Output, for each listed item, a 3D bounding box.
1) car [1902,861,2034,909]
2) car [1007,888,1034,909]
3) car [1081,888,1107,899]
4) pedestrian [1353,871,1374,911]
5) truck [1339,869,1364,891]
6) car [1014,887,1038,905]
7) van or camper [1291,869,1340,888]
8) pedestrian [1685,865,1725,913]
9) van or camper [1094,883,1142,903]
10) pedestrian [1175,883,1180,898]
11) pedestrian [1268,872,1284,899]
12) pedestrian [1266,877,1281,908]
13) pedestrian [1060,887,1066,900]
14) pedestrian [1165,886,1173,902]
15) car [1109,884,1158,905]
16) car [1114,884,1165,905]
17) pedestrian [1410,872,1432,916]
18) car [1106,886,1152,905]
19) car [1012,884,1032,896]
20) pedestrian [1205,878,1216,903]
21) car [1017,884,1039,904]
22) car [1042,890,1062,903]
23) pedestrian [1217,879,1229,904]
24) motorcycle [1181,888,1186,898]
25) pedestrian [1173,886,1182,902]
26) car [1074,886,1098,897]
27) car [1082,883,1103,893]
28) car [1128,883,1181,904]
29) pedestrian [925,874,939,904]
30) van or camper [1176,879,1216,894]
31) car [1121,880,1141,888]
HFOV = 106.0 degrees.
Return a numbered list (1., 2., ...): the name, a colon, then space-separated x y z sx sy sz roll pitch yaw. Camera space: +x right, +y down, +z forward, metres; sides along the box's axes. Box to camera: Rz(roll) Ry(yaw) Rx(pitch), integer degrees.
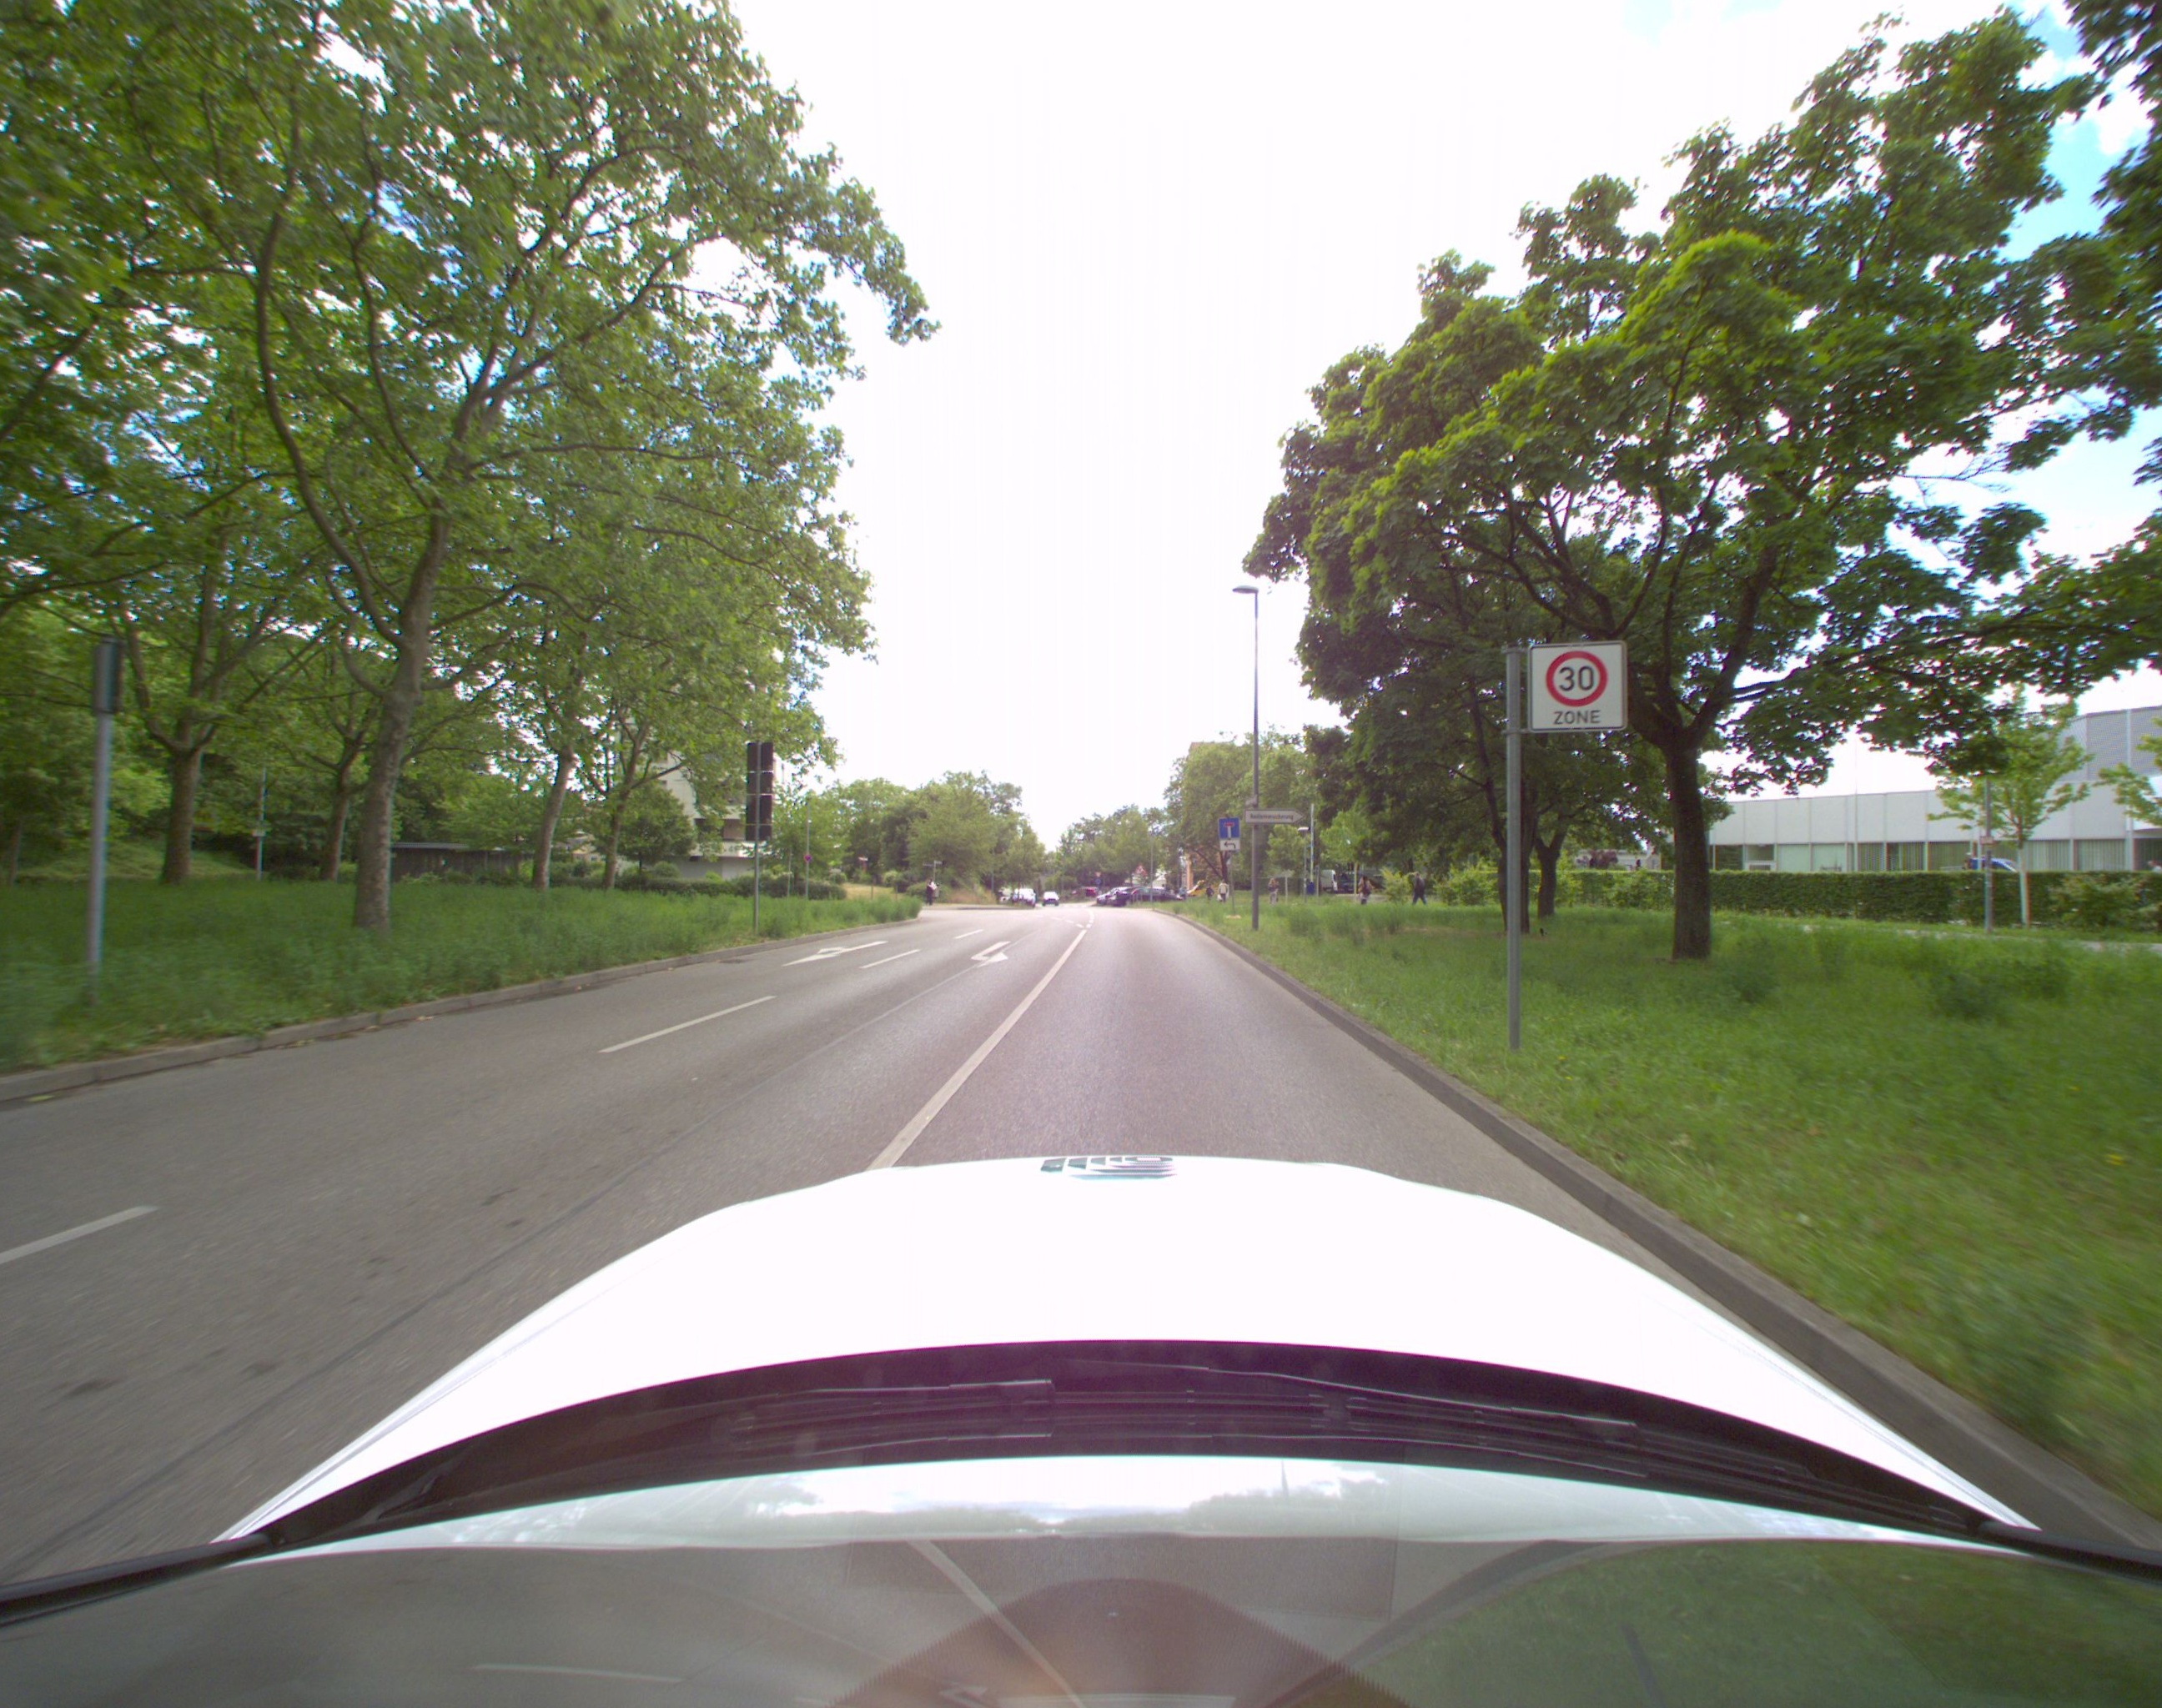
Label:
1. car: 33.725 1.130 31.044 1.580 1.676 3.123 1 0 -29
2. car: -4.640 3.411 63.009 1.760 1.500 3.933 0 -1 0
3. car: 1.949 5.875 122.049 3.548 1.564 1.612 2 -2 -17
4. pedestrian: 12.307 1.603 35.469 0.769 1.723 0.826 0 -1 14
5. truck: 30.137 2.893 90.561 2.306 2.296 5.925 1 -1 21
6. car: -4.587 3.502 68.115 1.760 1.501 3.933 0 -2 0
7. van or camper: 24.661 2.522 85.788 4.627 1.914 1.783 0 -1 32
8. pedestrian: 19.240 1.067 25.111 0.837 1.452 0.692 1 0 -27
9. van or camper: 3.765 3.911 82.472 4.665 1.870 1.768 0 0 -6
10. pedestrian: 7.866 2.971 66.540 0.393 1.152 0.486 0 -1 6
11. pedestrian: 12.802 2.057 53.436 0.767 1.694 0.828 0 -1 35
12. pedestrian: 10.234 2.022 43.265 0.769 1.596 0.826 0 -1 12
13. pedestrian: -2.592 5.816 118.542 0.720 1.865 0.649 0 -1 -9
14. pedestrian: 7.920 3.606 73.418 0.687 1.504 0.753 1 -2 2
15. car: 4.245 3.310 65.846 3.906 1.631 1.772 0 -5 2
16. car: 4.510 3.148 63.112 3.906 1.501 1.772 0 -5 2
17. pedestrian: 13.560 1.581 32.483 0.768 1.723 0.827 0 -1 21
18. car: 4.176 3.603 70.936 3.906 1.630 1.773 0 0 2
19. car: -7.401 4.494 101.715 1.209 1.337 2.576 3 -3 -38
20. pedestrian: 9.177 2.586 57.717 0.769 1.723 0.825 0 -1 10
21. car: -4.781 3.572 73.827 1.760 1.753 3.933 0 -2 0
22. car: -3.472 5.007 96.023 1.973 1.464 3.924 0 -2 -7
23. pedestrian: 9.806 2.583 56.411 0.796 1.723 0.825 0 -1 8
24. motorcycle: 8.355 3.160 66.294 0.450 0.794 1.266 0 0 7
25. pedestrian: 8.716 3.597 73.432 0.687 1.425 0.753 1 -2 2
26. car: 0.799 5.988 128.975 3.534 1.654 1.618 1 -2 -5
27. car: 2.078 5.993 143.941 3.523 1.654 1.623 1 -2 5
28. car: 5.438 2.957 60.846 3.906 1.469 1.772 0 -5 2
29. pedestrian: -8.881 2.069 48.507 0.820 1.723 0.774 1 -1 -9
30. van or camper: 15.981 4.532 113.065 5.279 2.042 2.059 0 0 -2
31. car: 9.743 5.835 158.500 3.548 1.654 1.612 2 -2 -17
